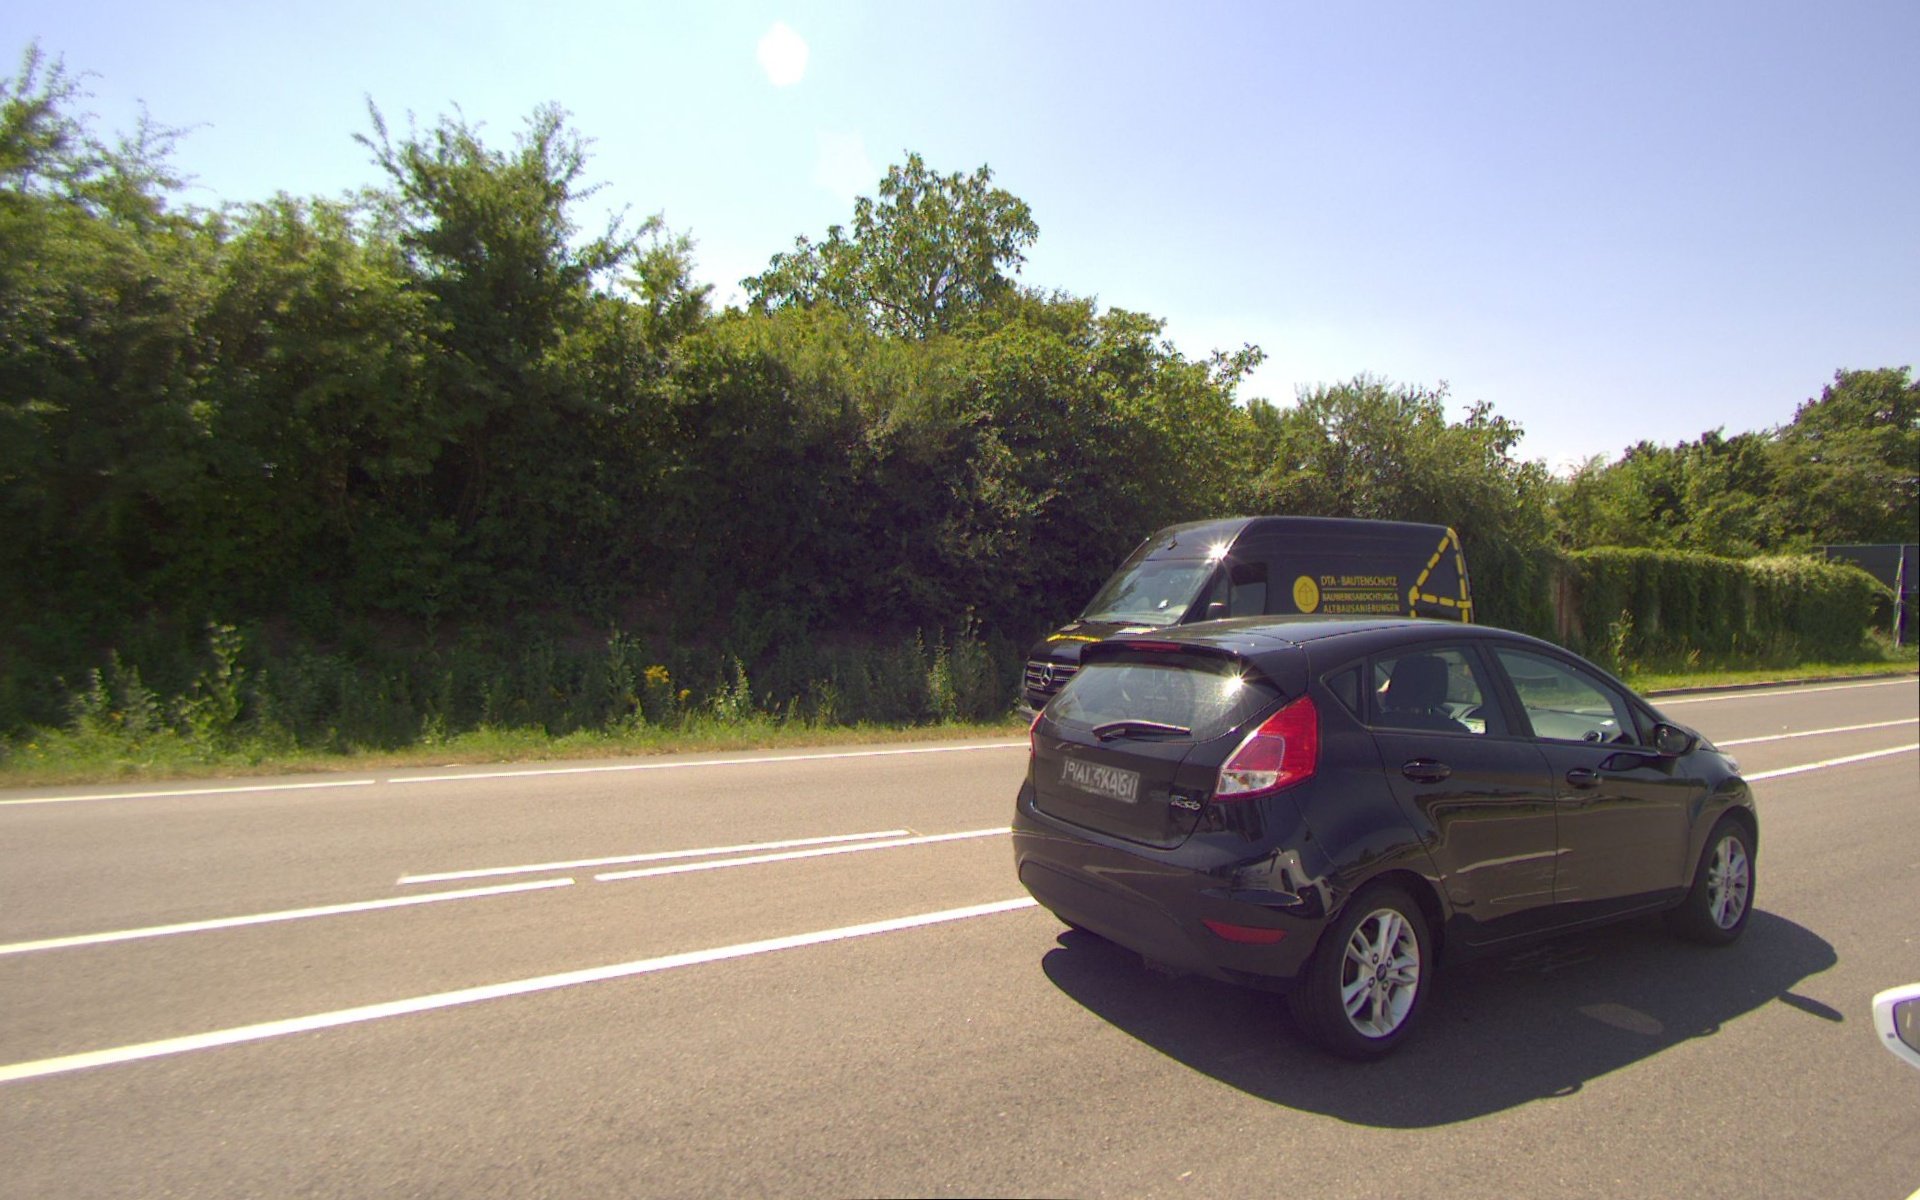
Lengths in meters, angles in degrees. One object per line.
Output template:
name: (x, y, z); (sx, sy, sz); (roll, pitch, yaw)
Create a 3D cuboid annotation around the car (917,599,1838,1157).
car: (2.020, 0.766, 4.517); (4.157, 1.514, 1.645); (0, 1, -30)

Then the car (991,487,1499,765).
car: (3.471, 0.277, 11.742); (5.966, 2.575, 2.177); (1, 0, -30)
